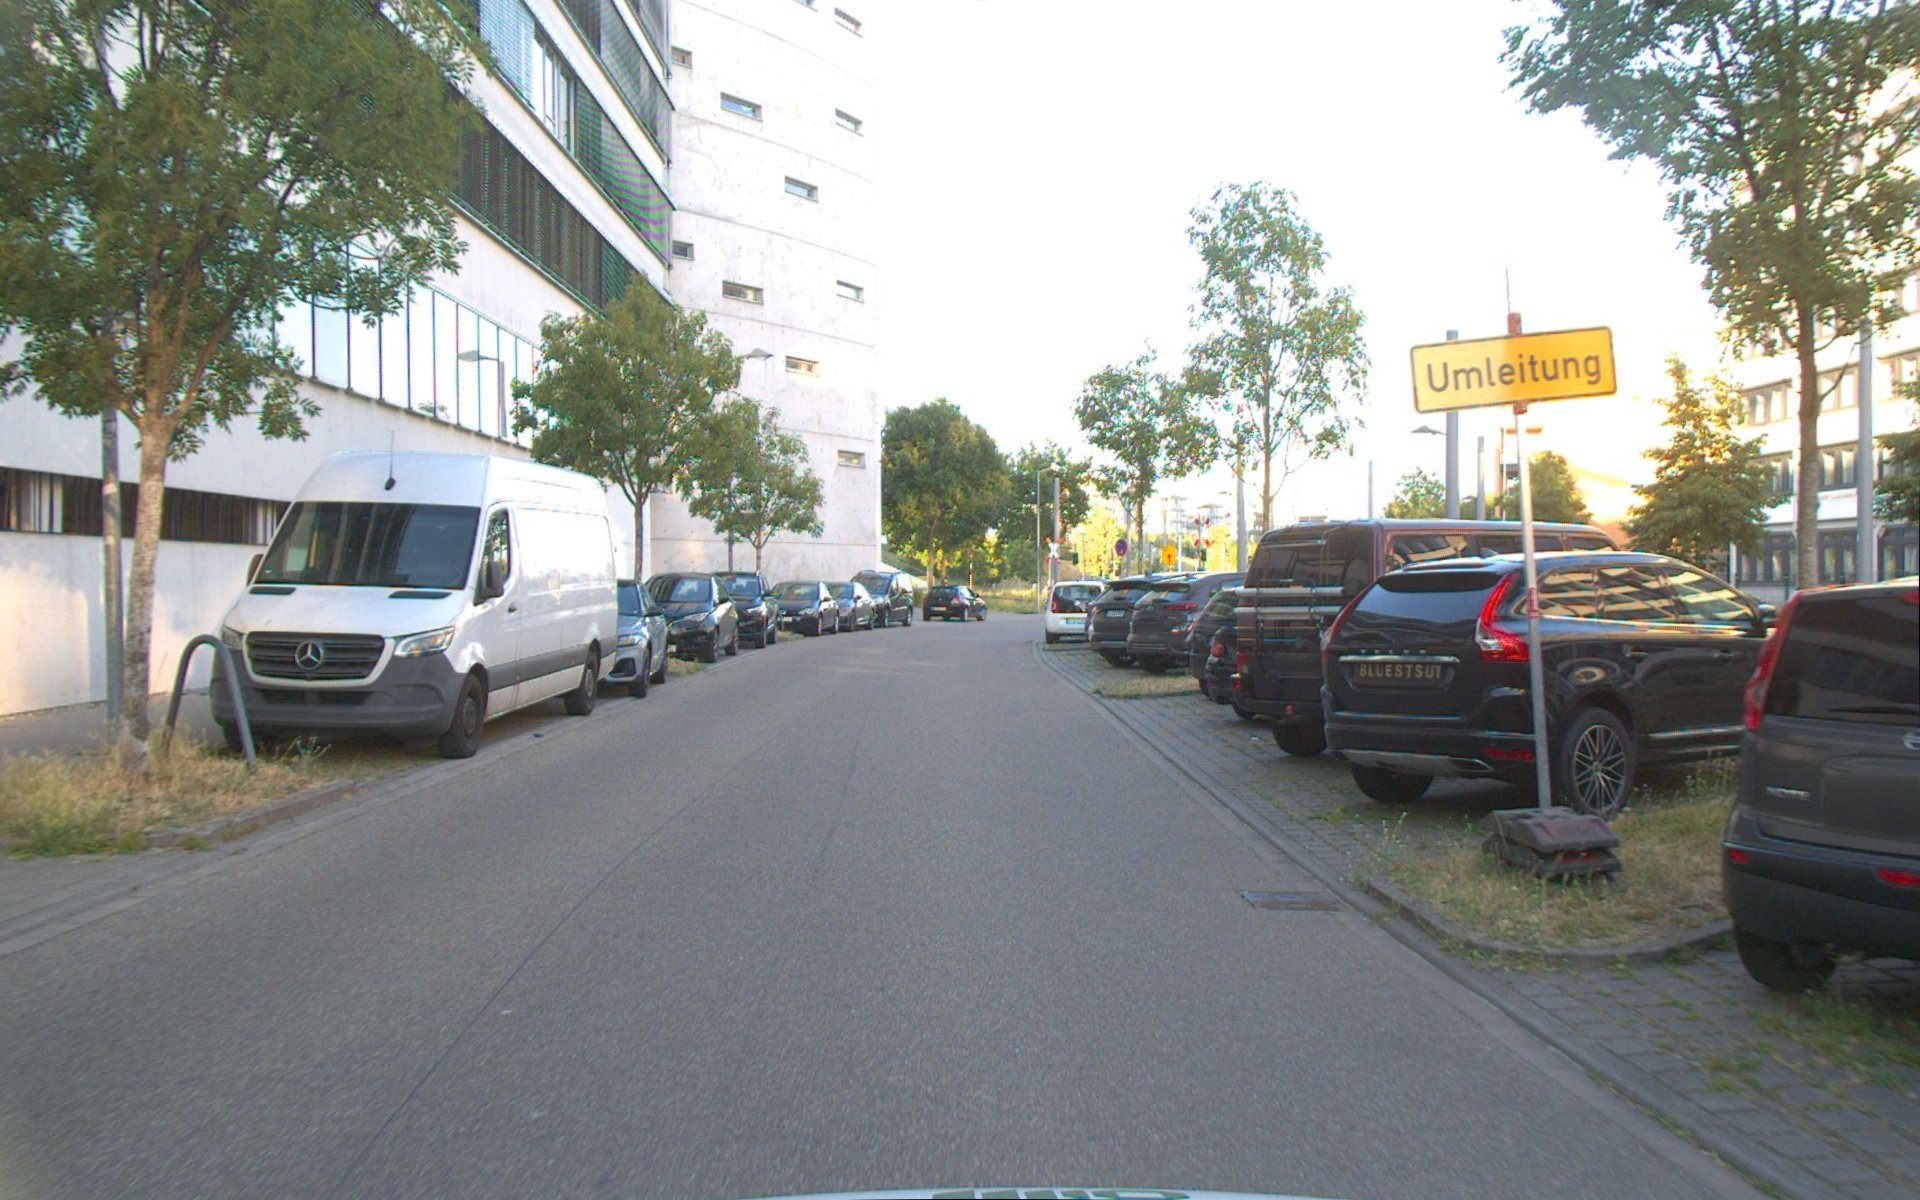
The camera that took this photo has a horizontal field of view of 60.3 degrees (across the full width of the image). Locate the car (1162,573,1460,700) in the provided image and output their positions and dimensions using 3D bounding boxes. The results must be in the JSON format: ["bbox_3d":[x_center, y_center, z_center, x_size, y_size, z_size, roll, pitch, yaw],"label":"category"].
[{"bbox_3d":[4.577,0.426,21.391,3.738,1.467,1.741,0,2,-37],"label":"car"}]

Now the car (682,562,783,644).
[{"bbox_3d":[-4.987,0.019,36.699,1.720,1.682,3.948,2,1,-1],"label":"car"}]

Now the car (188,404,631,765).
[{"bbox_3d":[-4.840,-0.194,15.913,1.918,2.662,6.893,2,1,0],"label":"car"}]

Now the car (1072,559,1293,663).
[{"bbox_3d":[4.027,0.181,29.803,3.733,1.755,1.743,0,1,-34],"label":"car"}]

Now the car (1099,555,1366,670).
[{"bbox_3d":[4.475,0.170,27.090,3.930,1.668,1.955,-2,1,-29],"label":"car"}]

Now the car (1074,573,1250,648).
[{"bbox_3d":[4.461,0.222,36.368,3.712,1.535,1.667,0,1,-36],"label":"car"}]

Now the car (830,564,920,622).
[{"bbox_3d":[-2.830,-0.270,55.881,1.720,1.830,4.467,2,1,14],"label":"car"}]

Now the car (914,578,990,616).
[{"bbox_3d":[-0.279,-0.138,66.371,1.903,1.406,4.402,2,1,15],"label":"car"}]

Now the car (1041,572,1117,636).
[{"bbox_3d":[3.009,0.070,41.244,1.686,1.493,3.556,-1,1,7],"label":"car"}]

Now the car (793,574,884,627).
[{"bbox_3d":[-3.673,-0.020,50.870,1.686,1.482,4.698,2,1,10],"label":"car"}]

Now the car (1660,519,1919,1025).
[{"bbox_3d":[4.644,0.593,6.527,3.957,1.623,1.714,2,0,-37],"label":"car"}]

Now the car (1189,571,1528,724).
[{"bbox_3d":[4.434,0.470,18.227,3.738,1.490,1.618,0,1,-37],"label":"car"}]

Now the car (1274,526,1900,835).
[{"bbox_3d":[4.492,0.448,11.591,4.549,1.779,1.849,0,1,-35],"label":"car"}]

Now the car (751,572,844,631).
[{"bbox_3d":[-4.405,0.000,45.399,1.686,1.482,4.274,2,1,6],"label":"car"}]

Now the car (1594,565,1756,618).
[{"bbox_3d":[22.542,-0.277,52.203,4.404,1.630,1.694,0,1,-1],"label":"car"}]

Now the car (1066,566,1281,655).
[{"bbox_3d":[4.250,0.173,32.831,3.880,1.535,1.936,-3,1,-31],"label":"car"}]

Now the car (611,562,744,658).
[{"bbox_3d":[-5.098,0.131,30.317,1.720,1.588,4.043,2,1,0],"label":"car"}]

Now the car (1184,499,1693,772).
[{"bbox_3d":[4.302,0.254,14.583,4.549,2.071,1.849,0,1,-35],"label":"car"}]

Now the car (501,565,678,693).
[{"bbox_3d":[-4.759,0.311,21.723,1.722,1.464,3.898,2,1,-5],"label":"car"}]

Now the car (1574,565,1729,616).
[{"bbox_3d":[22.816,-0.314,54.657,4.404,1.630,1.694,0,1,-1],"label":"car"}]
